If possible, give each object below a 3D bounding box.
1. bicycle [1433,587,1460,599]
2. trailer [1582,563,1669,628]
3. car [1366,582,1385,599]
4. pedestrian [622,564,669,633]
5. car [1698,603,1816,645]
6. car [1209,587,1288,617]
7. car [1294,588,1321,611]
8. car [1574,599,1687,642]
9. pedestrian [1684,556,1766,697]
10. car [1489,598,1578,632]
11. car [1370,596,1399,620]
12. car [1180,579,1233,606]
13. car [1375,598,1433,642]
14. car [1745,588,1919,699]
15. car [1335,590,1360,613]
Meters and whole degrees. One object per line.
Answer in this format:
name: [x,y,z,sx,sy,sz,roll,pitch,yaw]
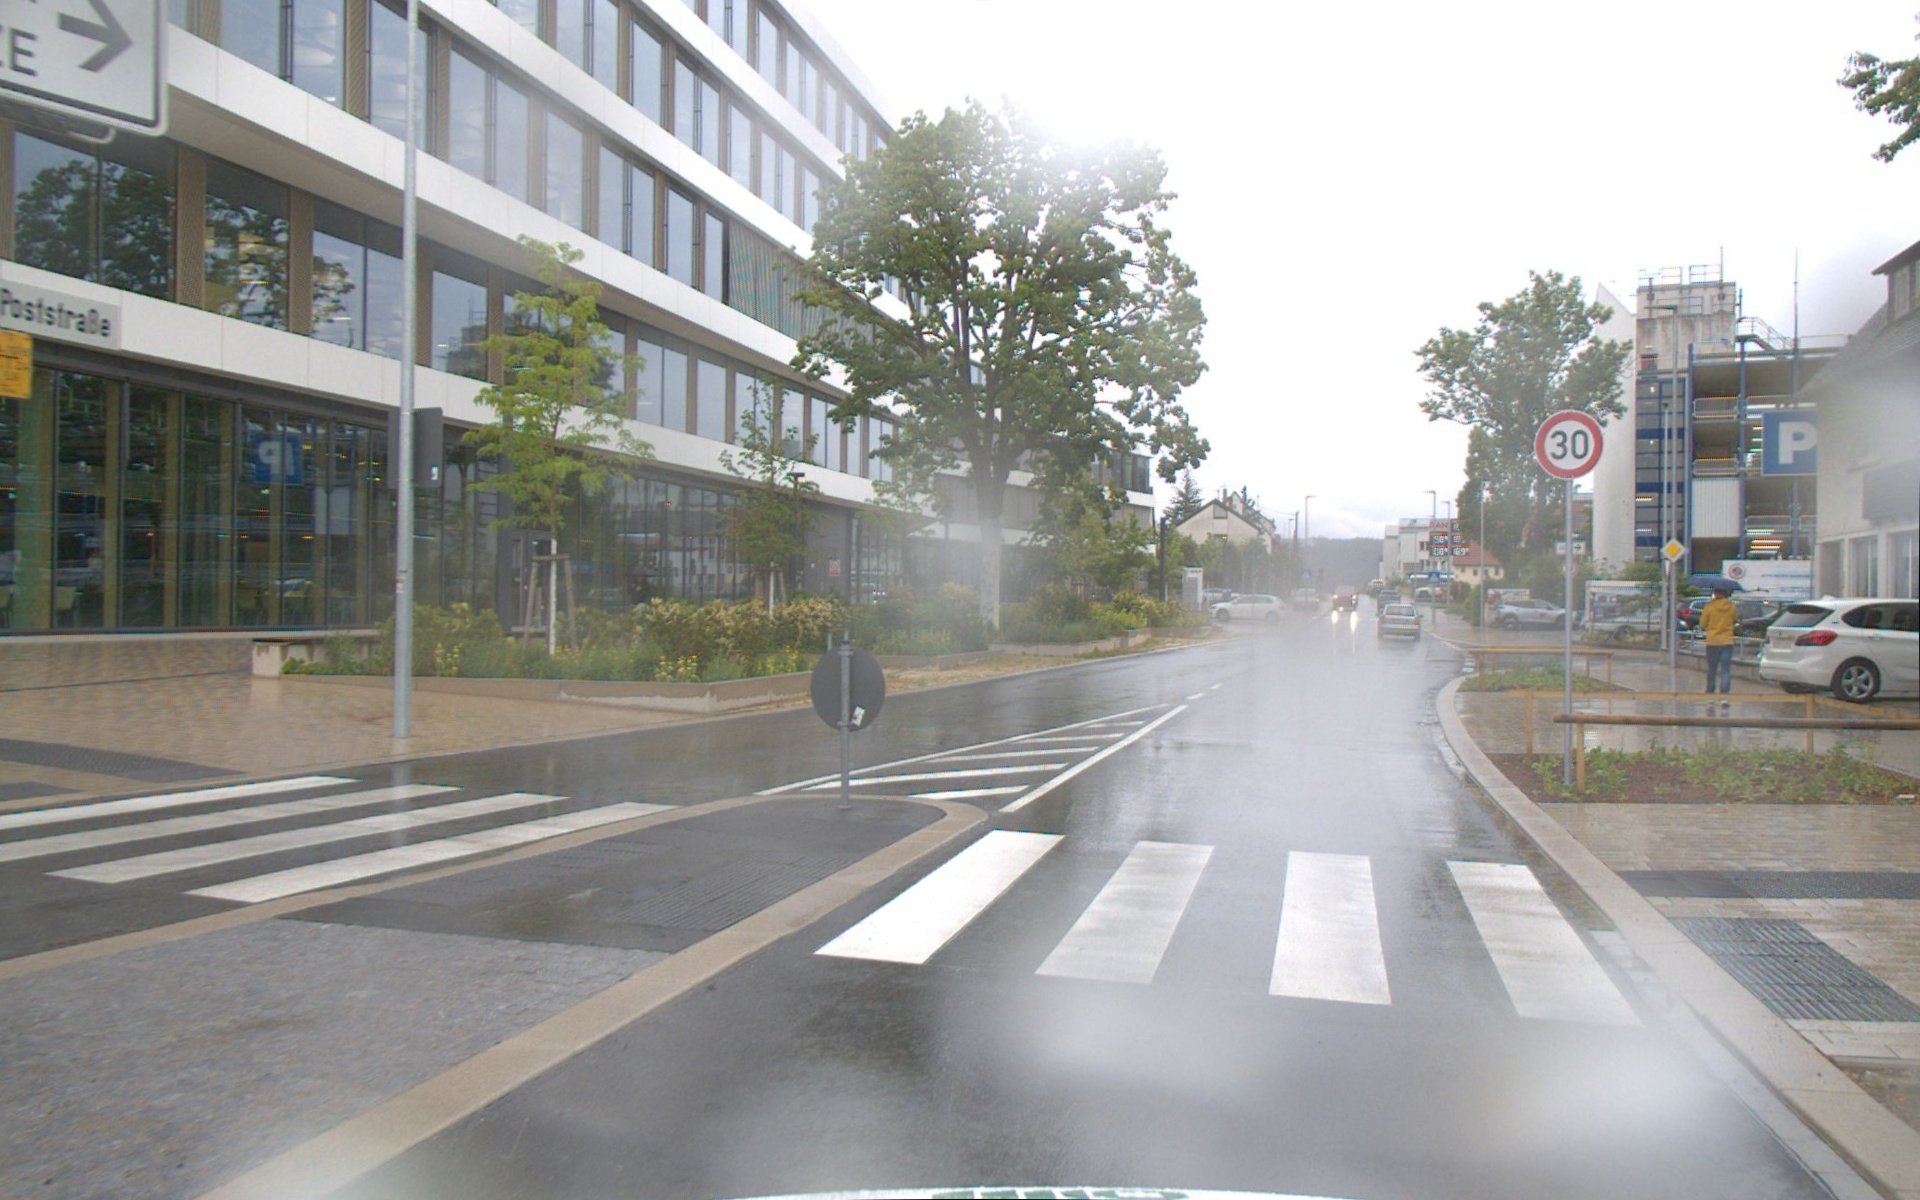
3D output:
bicycle: [49.170,-0.669,167.273,0.658,1.085,3.612,5,0,-17]
trailer: [23.495,-0.169,58.475,2.645,2.209,1.549,1,0,16]
car: [47.867,-1.093,190.760,1.952,1.735,4.003,5,0,14]
pedestrian: [-8.269,-0.039,43.519,0.709,1.733,0.957,5,-1,17]
car: [29.610,0.888,61.533,3.646,1.474,1.732,1,0,11]
car: [14.852,0.104,85.074,3.844,1.448,1.899,1,0,15]
car: [27.038,-0.054,128.610,1.951,1.657,4.157,1,1,14]
car: [24.626,0.765,60.887,3.646,1.556,1.651,0,-1,14]
pedestrian: [11.496,0.396,24.888,0.840,2.049,1.196,-1,-1,12]
car: [29.248,0.783,84.317,4.123,1.678,1.999,-1,-1,24]
car: [34.551,0.669,134.718,2.109,1.735,4.003,5,0,14]
car: [22.778,-0.698,152.965,4.654,2.048,2.001,5,0,6]
car: [18.070,0.850,67.428,1.907,1.582,4.003,5,0,11]
car: [14.631,0.631,25.580,4.044,1.608,2.000,-1,0,0]
car: [31.944,0.141,136.466,1.960,1.849,4.983,1,0,13]
